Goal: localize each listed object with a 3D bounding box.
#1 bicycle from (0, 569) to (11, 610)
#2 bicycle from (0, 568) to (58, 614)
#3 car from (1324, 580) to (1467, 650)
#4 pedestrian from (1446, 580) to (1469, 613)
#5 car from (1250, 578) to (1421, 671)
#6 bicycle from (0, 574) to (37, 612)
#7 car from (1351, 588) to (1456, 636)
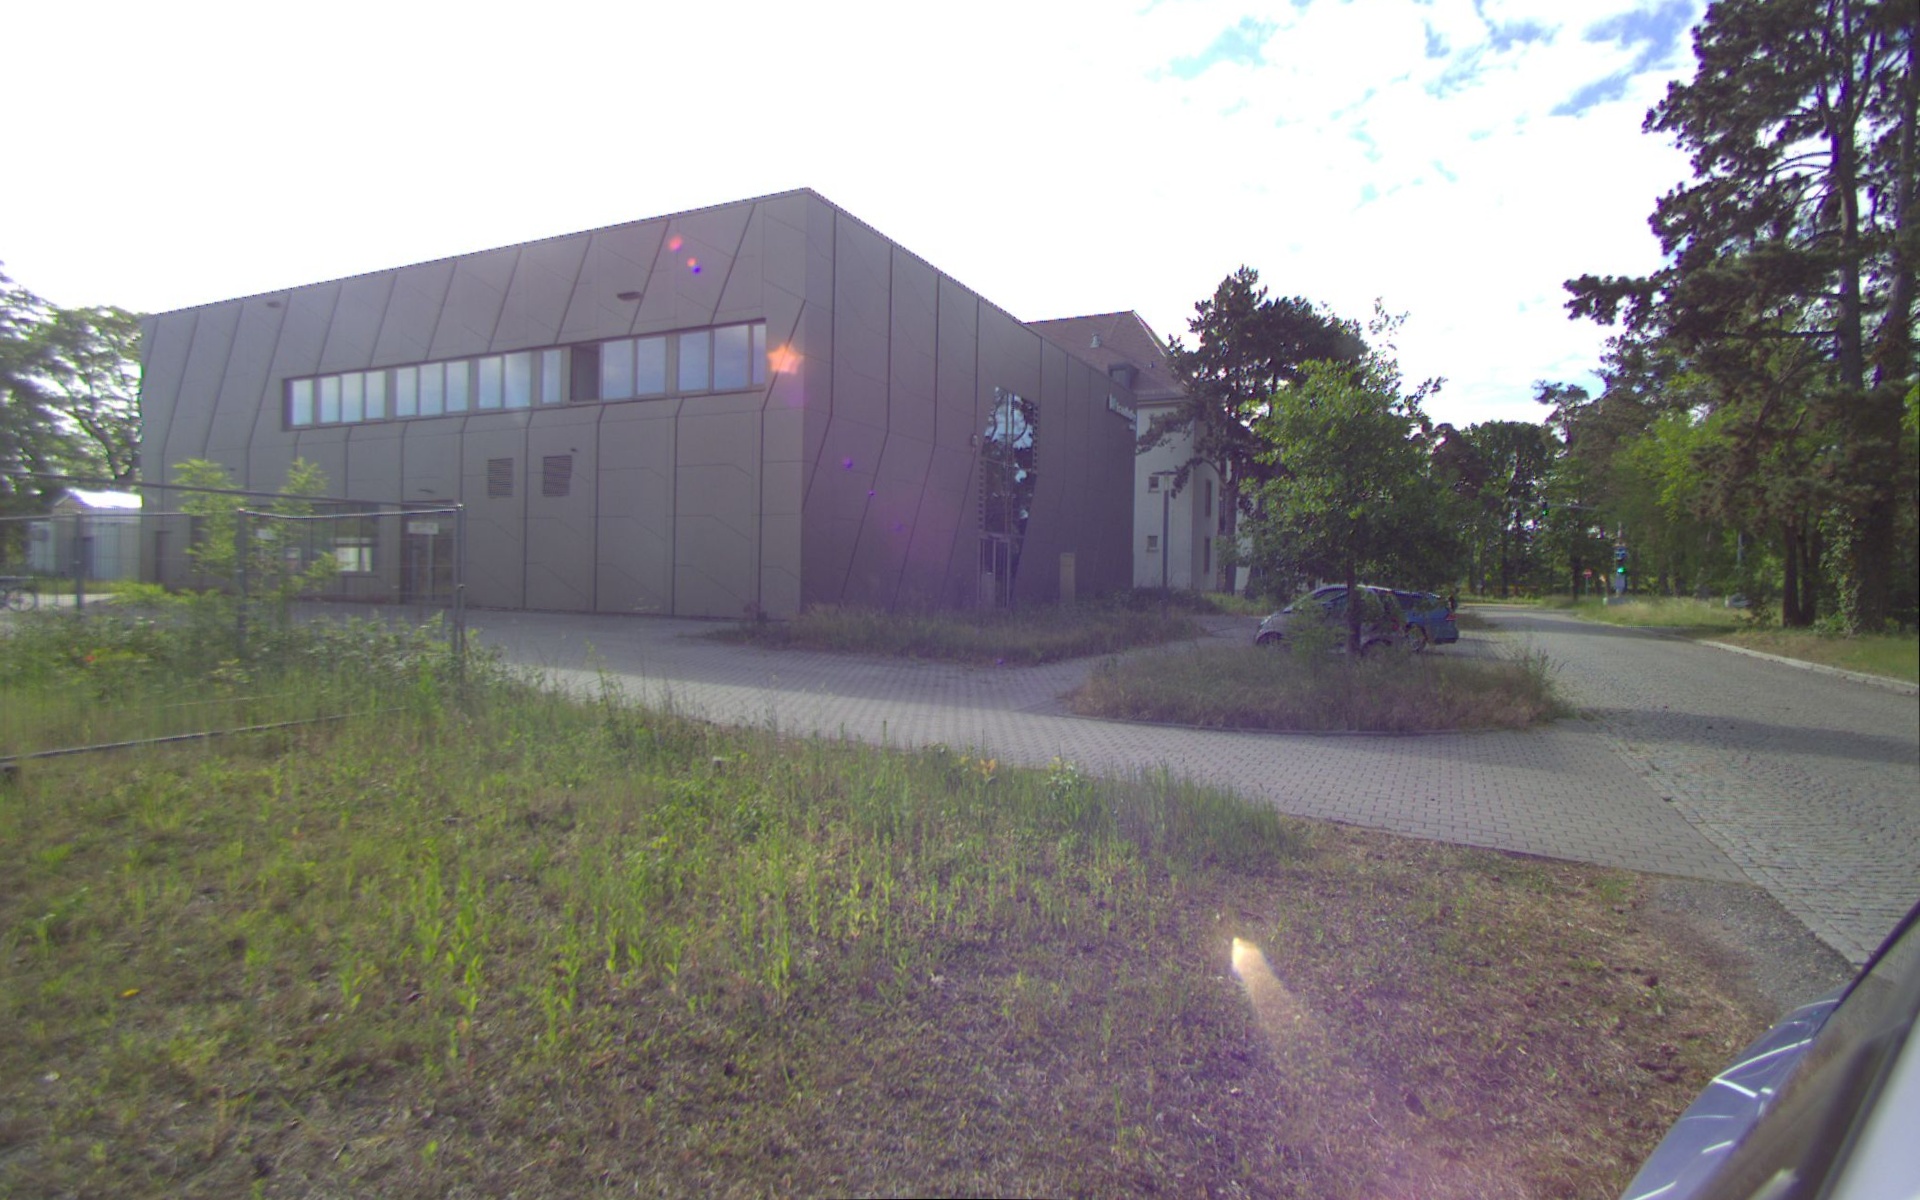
[{"bbox_3d":[-25.286,-0.271,25.330,0.936,1.057,2.052,1,1,24],"label":"bicycle"},{"bbox_3d":[-23.247,-0.230,24.408,0.936,1.100,2.052,1,1,24],"label":"bicycle"},{"bbox_3d":[10.644,0.339,24.876,3.059,1.475,1.481,4,2,22],"label":"car"},{"bbox_3d":[28.948,-0.221,58.924,0.944,1.867,0.952,1,1,13],"label":"pedestrian"},{"bbox_3d":[6.920,0.403,18.686,2.747,1.569,1.410,1,1,31],"label":"car"},{"bbox_3d":[-24.330,-0.181,25.021,0.936,0.933,2.052,1,1,24],"label":"bicycle"},{"bbox_3d":[14.552,0.360,33.333,3.056,1.468,1.482,1,1,21],"label":"car"}]
